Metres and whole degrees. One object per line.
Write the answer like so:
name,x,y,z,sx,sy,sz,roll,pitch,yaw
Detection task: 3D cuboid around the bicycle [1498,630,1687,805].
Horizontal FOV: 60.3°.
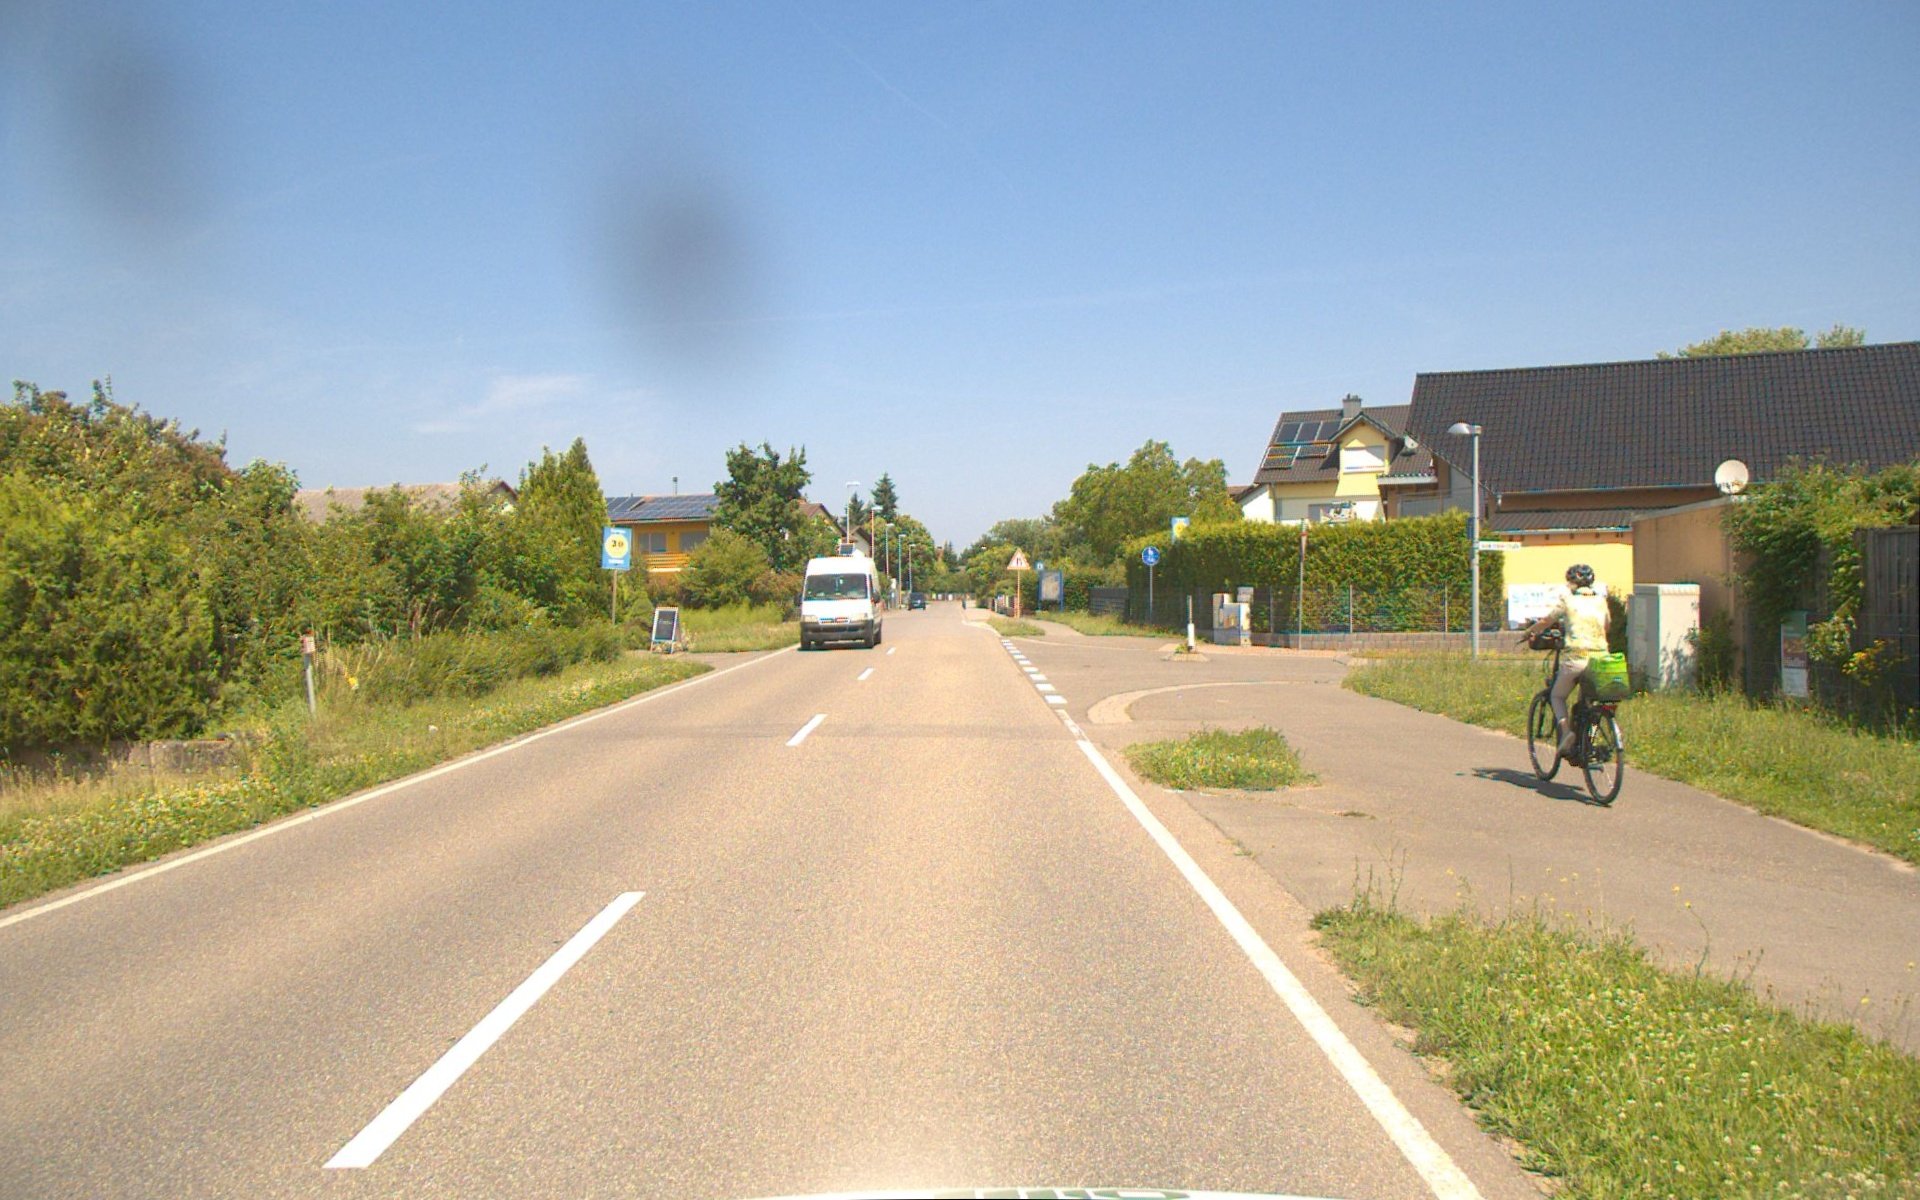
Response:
bicycle,4.990,0.881,13.222,0.598,1.179,2.274,1,1,-1

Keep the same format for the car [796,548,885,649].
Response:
car,-3.268,-0.075,46.227,2.035,2.586,5.872,-2,1,-1

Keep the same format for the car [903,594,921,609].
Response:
car,-5.000,0.140,173.154,1.723,1.409,3.452,-2,0,-1

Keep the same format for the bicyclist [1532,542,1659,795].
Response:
bicyclist,4.992,0.516,13.037,0.632,1.922,0.861,1,1,-1
